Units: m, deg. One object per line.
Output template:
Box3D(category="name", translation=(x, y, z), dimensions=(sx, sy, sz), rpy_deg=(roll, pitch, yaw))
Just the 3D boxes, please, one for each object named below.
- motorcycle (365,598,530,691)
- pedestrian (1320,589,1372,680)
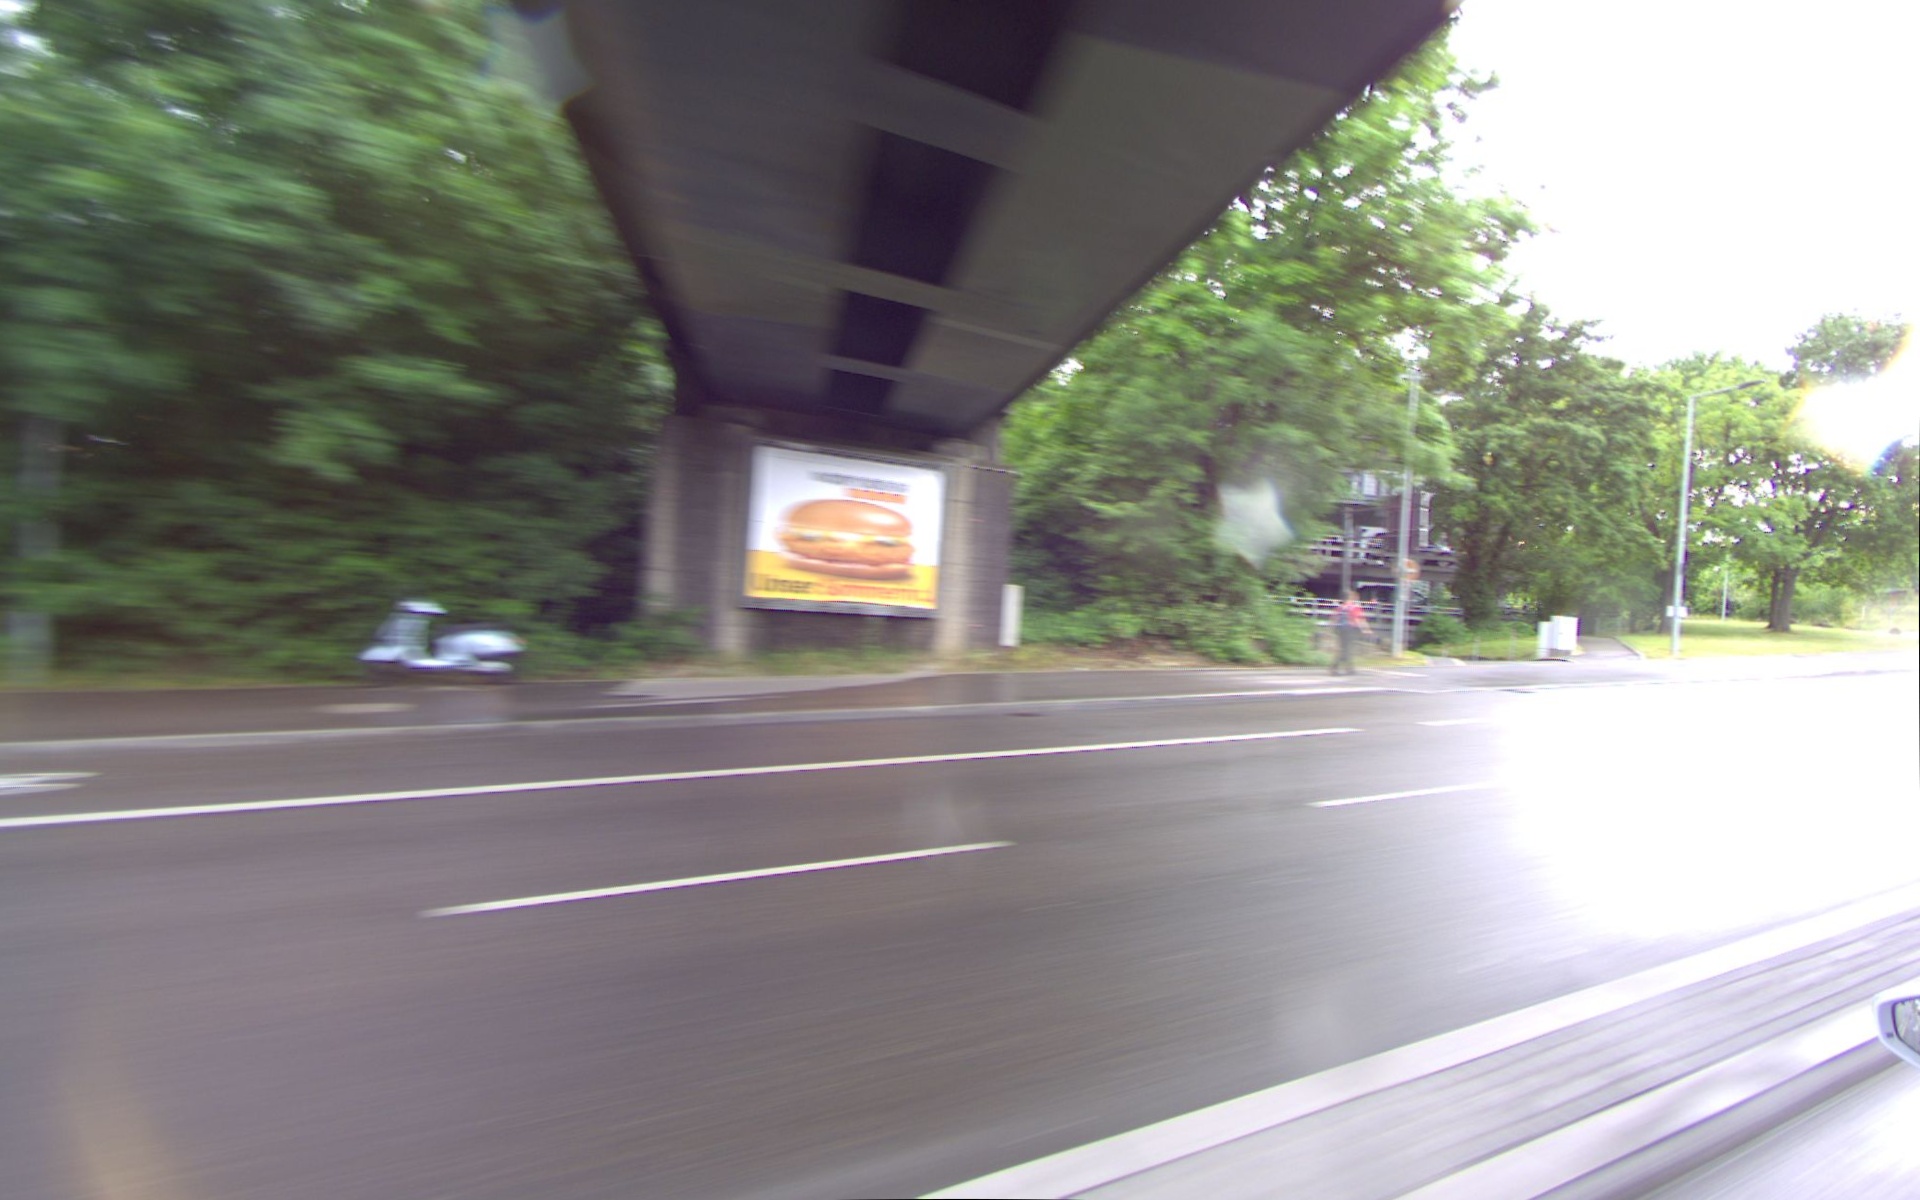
Box3D(category="motorcycle", translation=(-6.802, 0.589, 13.420), dimensions=(1.906, 1.174, 0.467), rpy_deg=(1, 1, -26))
Box3D(category="pedestrian", translation=(7.987, 0.712, 20.781), dimensions=(0.787, 1.840, 0.519), rpy_deg=(2, 2, -19))
